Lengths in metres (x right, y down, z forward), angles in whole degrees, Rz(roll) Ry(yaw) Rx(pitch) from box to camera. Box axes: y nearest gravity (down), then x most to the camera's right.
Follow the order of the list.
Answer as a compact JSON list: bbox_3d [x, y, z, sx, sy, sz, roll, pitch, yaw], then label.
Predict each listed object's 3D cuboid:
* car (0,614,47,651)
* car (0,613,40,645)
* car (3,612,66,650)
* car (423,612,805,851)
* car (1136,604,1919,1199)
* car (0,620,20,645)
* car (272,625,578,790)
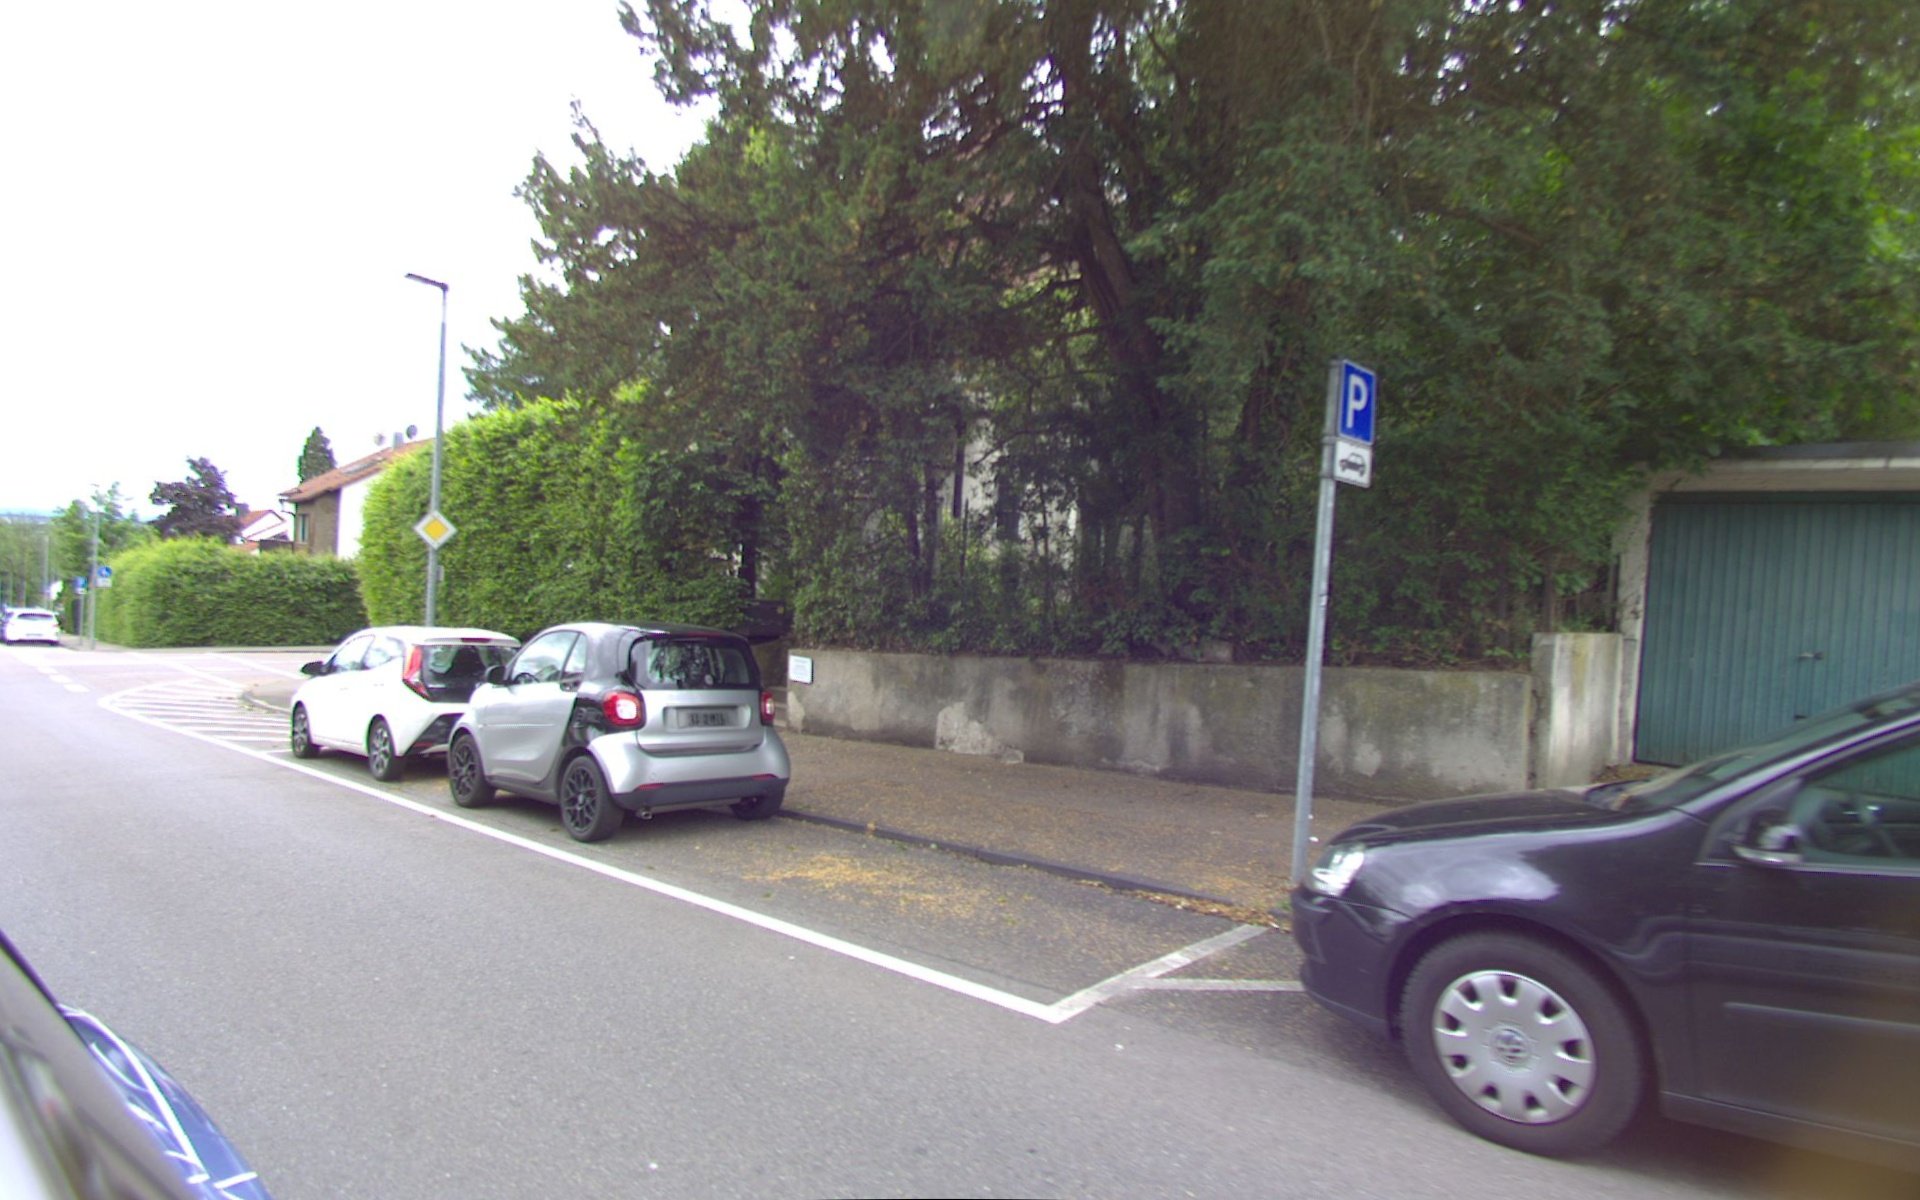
[{"bbox_3d":[-42.018,1.410,45.012,4.741,1.501,1.761,-1,-5,45],"label":"car"},{"bbox_3d":[-46.380,1.428,49.429,4.344,1.501,1.864,-1,-3,45],"label":"car"},{"bbox_3d":[-38.108,1.274,41.652,1.670,1.430,3.581,5,-5,-44],"label":"car"},{"bbox_3d":[-2.843,0.882,8.138,2.973,1.530,1.607,0,-2,41],"label":"car"},{"bbox_3d":[3.009,0.779,2.888,4.679,1.481,1.831,-1,-3,40],"label":"car"},{"bbox_3d":[-60.028,2.024,63.087,4.007,1.561,1.917,-1,-3,45],"label":"car"},{"bbox_3d":[-5.814,1.028,10.870,3.512,1.459,1.726,-1,-3,41],"label":"car"}]
